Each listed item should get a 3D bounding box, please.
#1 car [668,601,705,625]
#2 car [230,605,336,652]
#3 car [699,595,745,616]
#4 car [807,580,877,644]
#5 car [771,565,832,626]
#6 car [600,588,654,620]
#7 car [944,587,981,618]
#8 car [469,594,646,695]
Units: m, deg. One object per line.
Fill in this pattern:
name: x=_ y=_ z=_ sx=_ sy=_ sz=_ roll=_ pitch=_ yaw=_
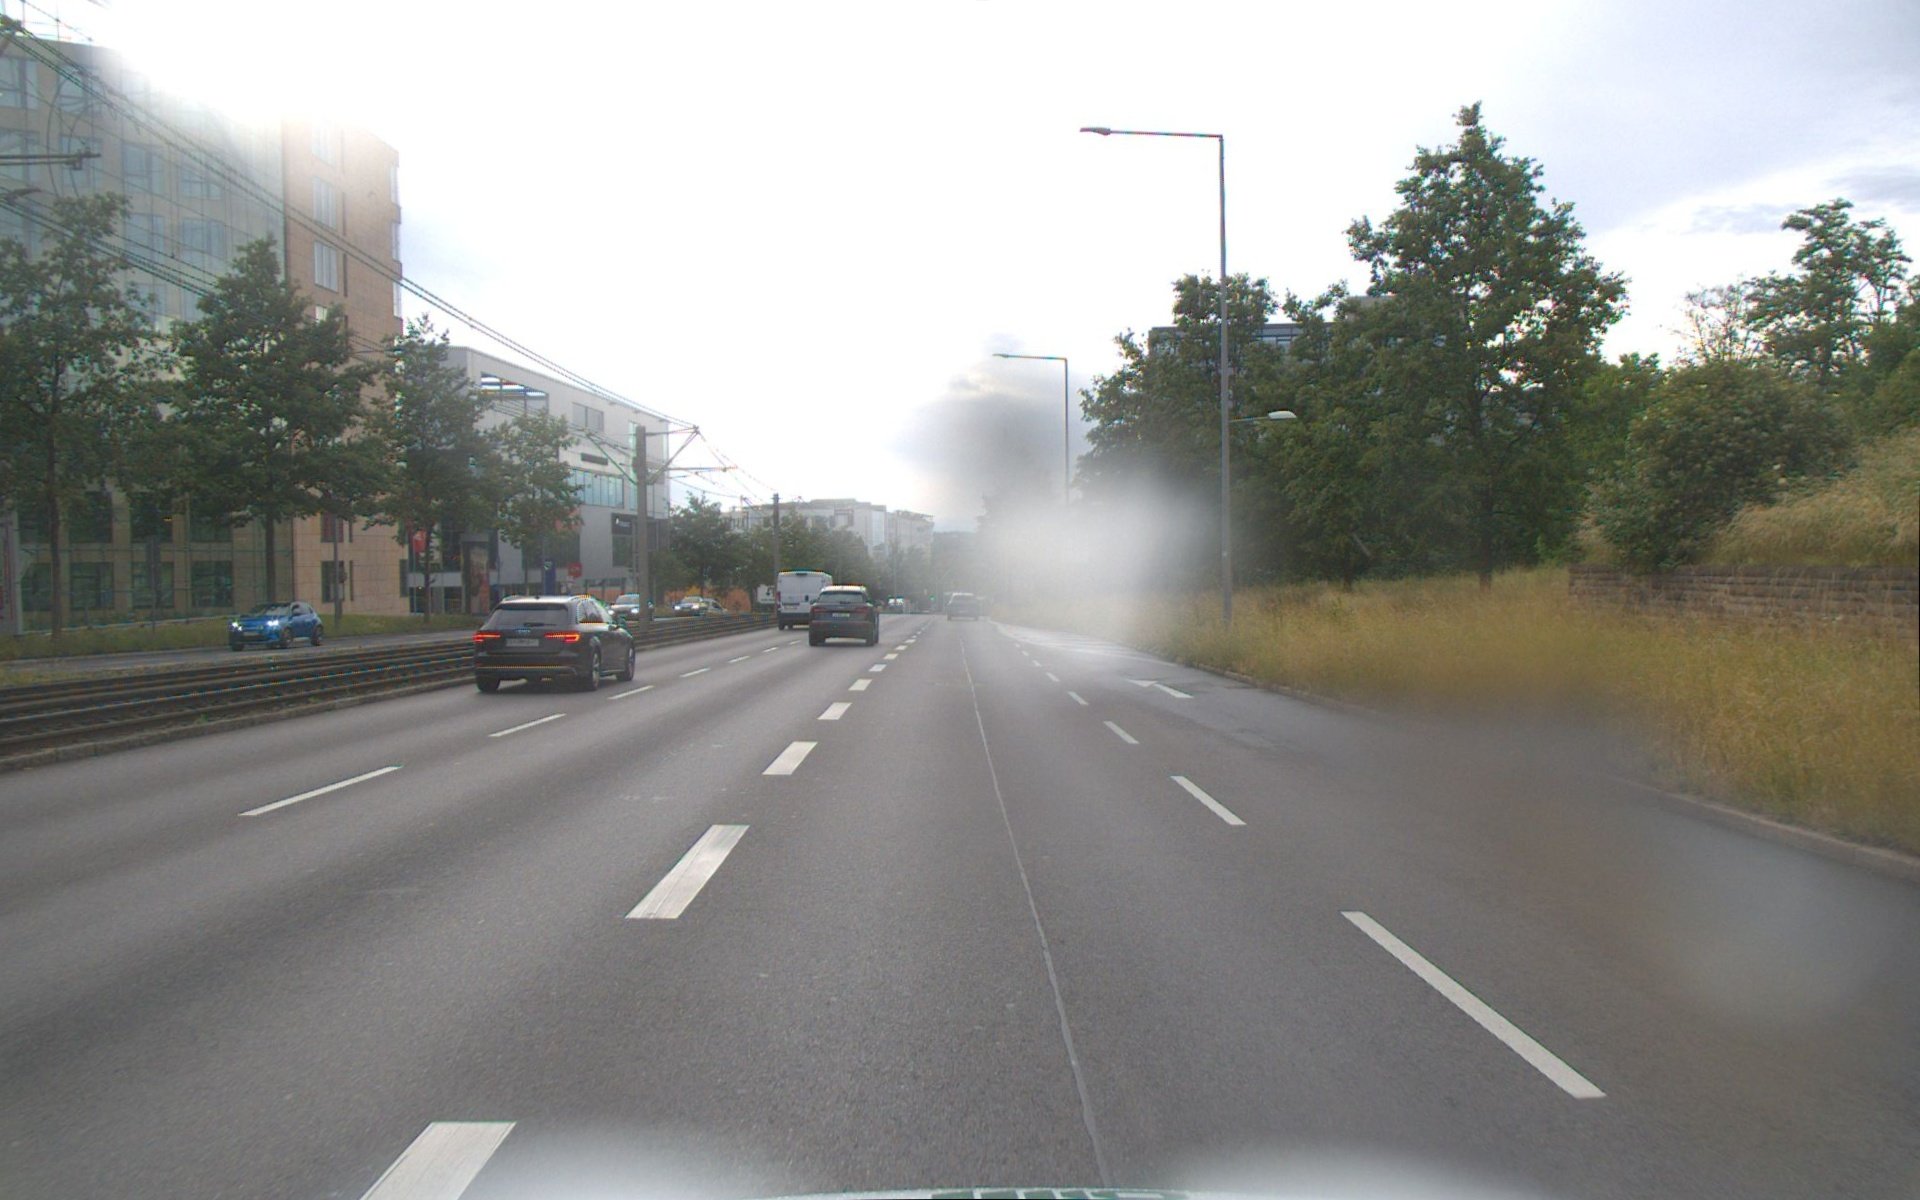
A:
car: x=-19.771 y=0.945 z=119.876 sx=1.803 sy=1.511 sz=4.654 roll=-4 pitch=1 yaw=0
car: x=-22.329 y=0.944 z=54.747 sx=1.803 sy=1.479 sz=4.024 roll=1 pitch=-1 yaw=0
car: x=-27.720 y=0.631 z=192.753 sx=5.207 sy=2.353 sz=2.015 roll=1 pitch=-2 yaw=-11
car: x=-3.348 y=0.308 z=47.176 sx=1.884 sy=1.740 sz=4.095 roll=1 pitch=0 yaw=-3
car: x=-6.361 y=-0.182 z=66.761 sx=2.223 sy=2.325 sz=4.756 roll=1 pitch=0 yaw=-3
car: x=-16.561 y=0.221 z=82.421 sx=1.735 sy=1.528 sz=4.200 roll=1 pitch=-1 yaw=2
car: x=0.111 y=0.134 z=91.151 sx=1.754 sy=1.619 sz=3.997 roll=-1 pitch=0 yaw=-3
car: x=-6.277 y=0.636 z=26.329 sx=1.750 sy=1.438 sz=4.804 roll=1 pitch=0 yaw=-2
